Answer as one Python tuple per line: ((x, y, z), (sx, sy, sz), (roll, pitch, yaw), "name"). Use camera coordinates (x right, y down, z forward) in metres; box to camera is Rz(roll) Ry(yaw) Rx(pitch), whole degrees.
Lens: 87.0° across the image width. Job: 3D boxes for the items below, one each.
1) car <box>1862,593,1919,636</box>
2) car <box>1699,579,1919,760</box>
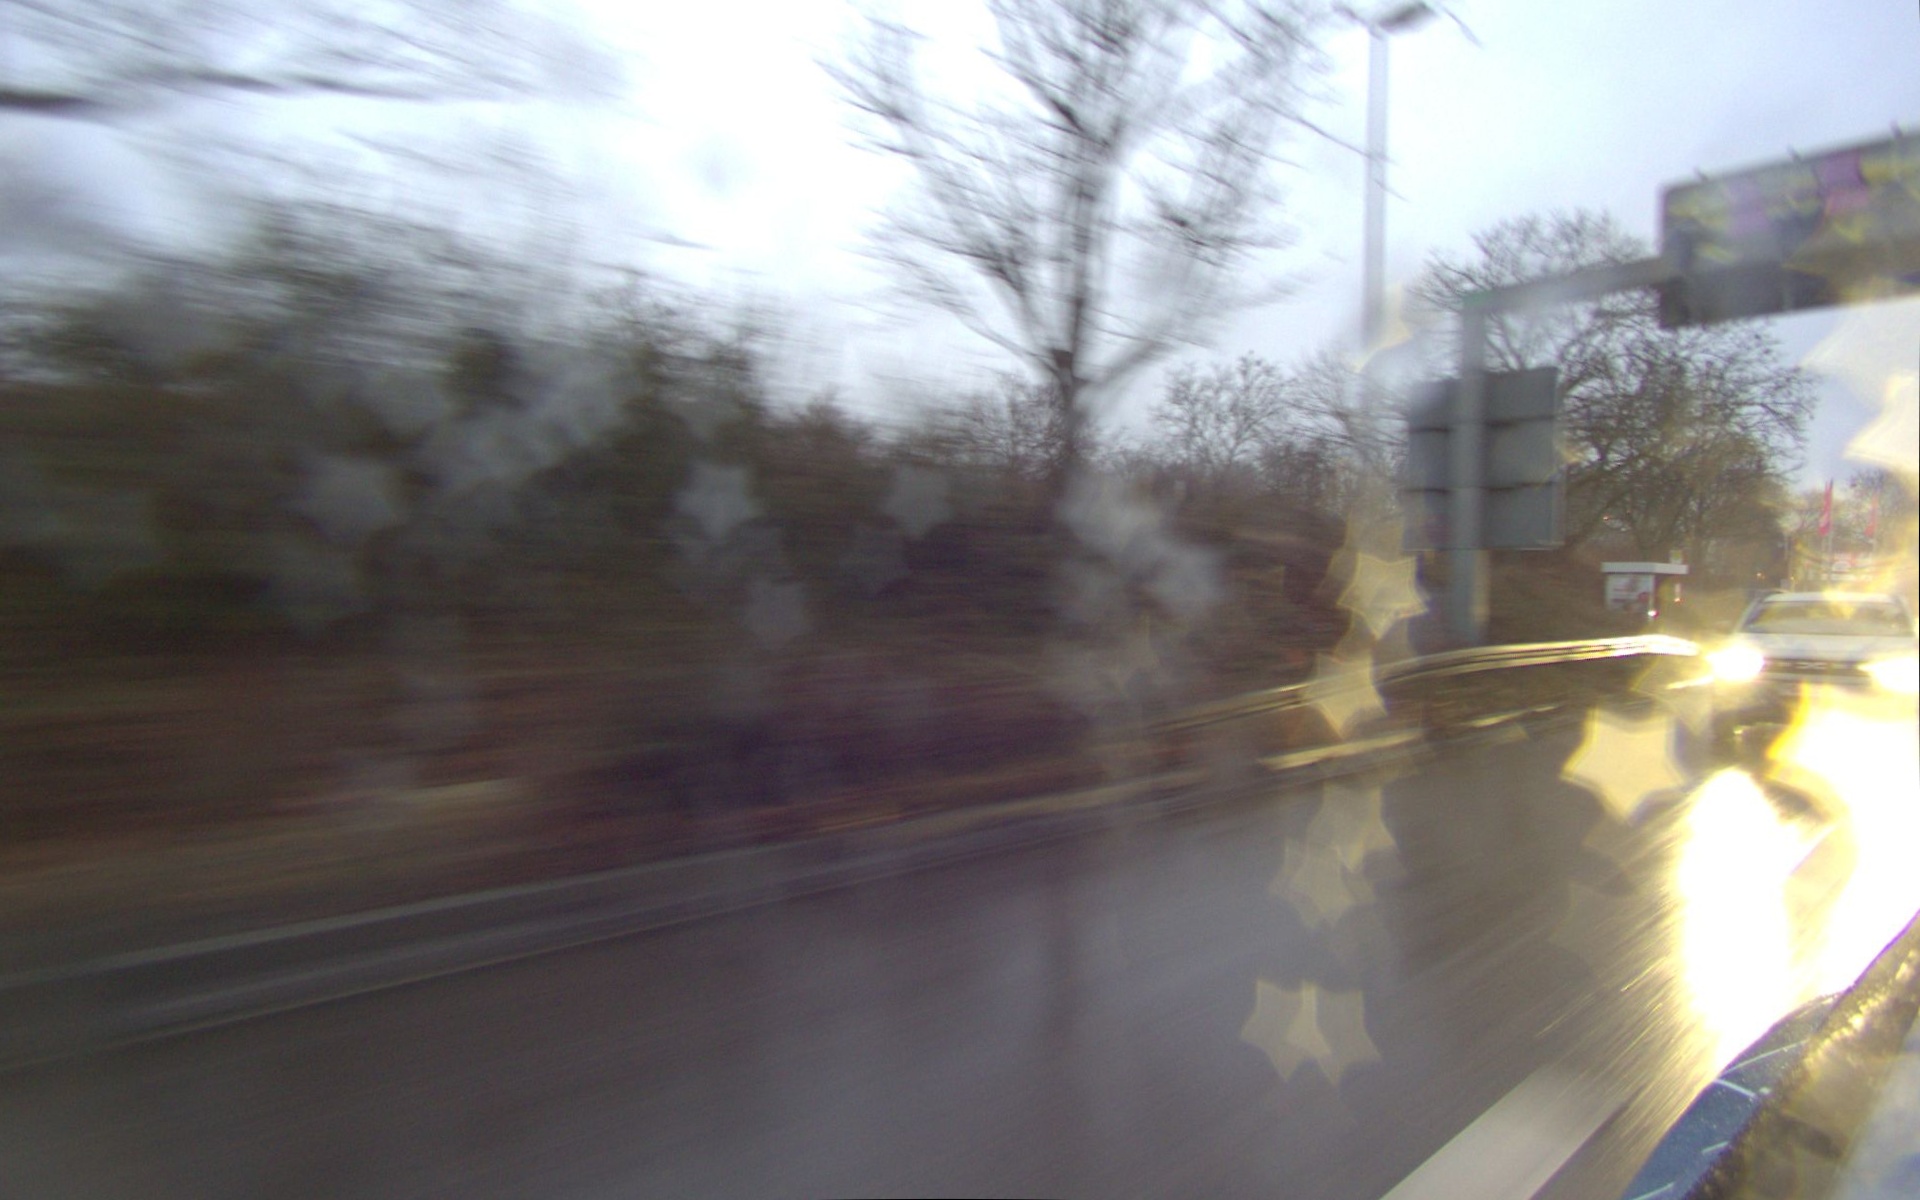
((39.445, 0.568, 42.498), (4.473, 1.639, 1.969), (-1, 3, -44), "car")
((9.856, 0.601, 11.364), (4.338, 1.638, 1.817), (-1, 2, -44), "car")
